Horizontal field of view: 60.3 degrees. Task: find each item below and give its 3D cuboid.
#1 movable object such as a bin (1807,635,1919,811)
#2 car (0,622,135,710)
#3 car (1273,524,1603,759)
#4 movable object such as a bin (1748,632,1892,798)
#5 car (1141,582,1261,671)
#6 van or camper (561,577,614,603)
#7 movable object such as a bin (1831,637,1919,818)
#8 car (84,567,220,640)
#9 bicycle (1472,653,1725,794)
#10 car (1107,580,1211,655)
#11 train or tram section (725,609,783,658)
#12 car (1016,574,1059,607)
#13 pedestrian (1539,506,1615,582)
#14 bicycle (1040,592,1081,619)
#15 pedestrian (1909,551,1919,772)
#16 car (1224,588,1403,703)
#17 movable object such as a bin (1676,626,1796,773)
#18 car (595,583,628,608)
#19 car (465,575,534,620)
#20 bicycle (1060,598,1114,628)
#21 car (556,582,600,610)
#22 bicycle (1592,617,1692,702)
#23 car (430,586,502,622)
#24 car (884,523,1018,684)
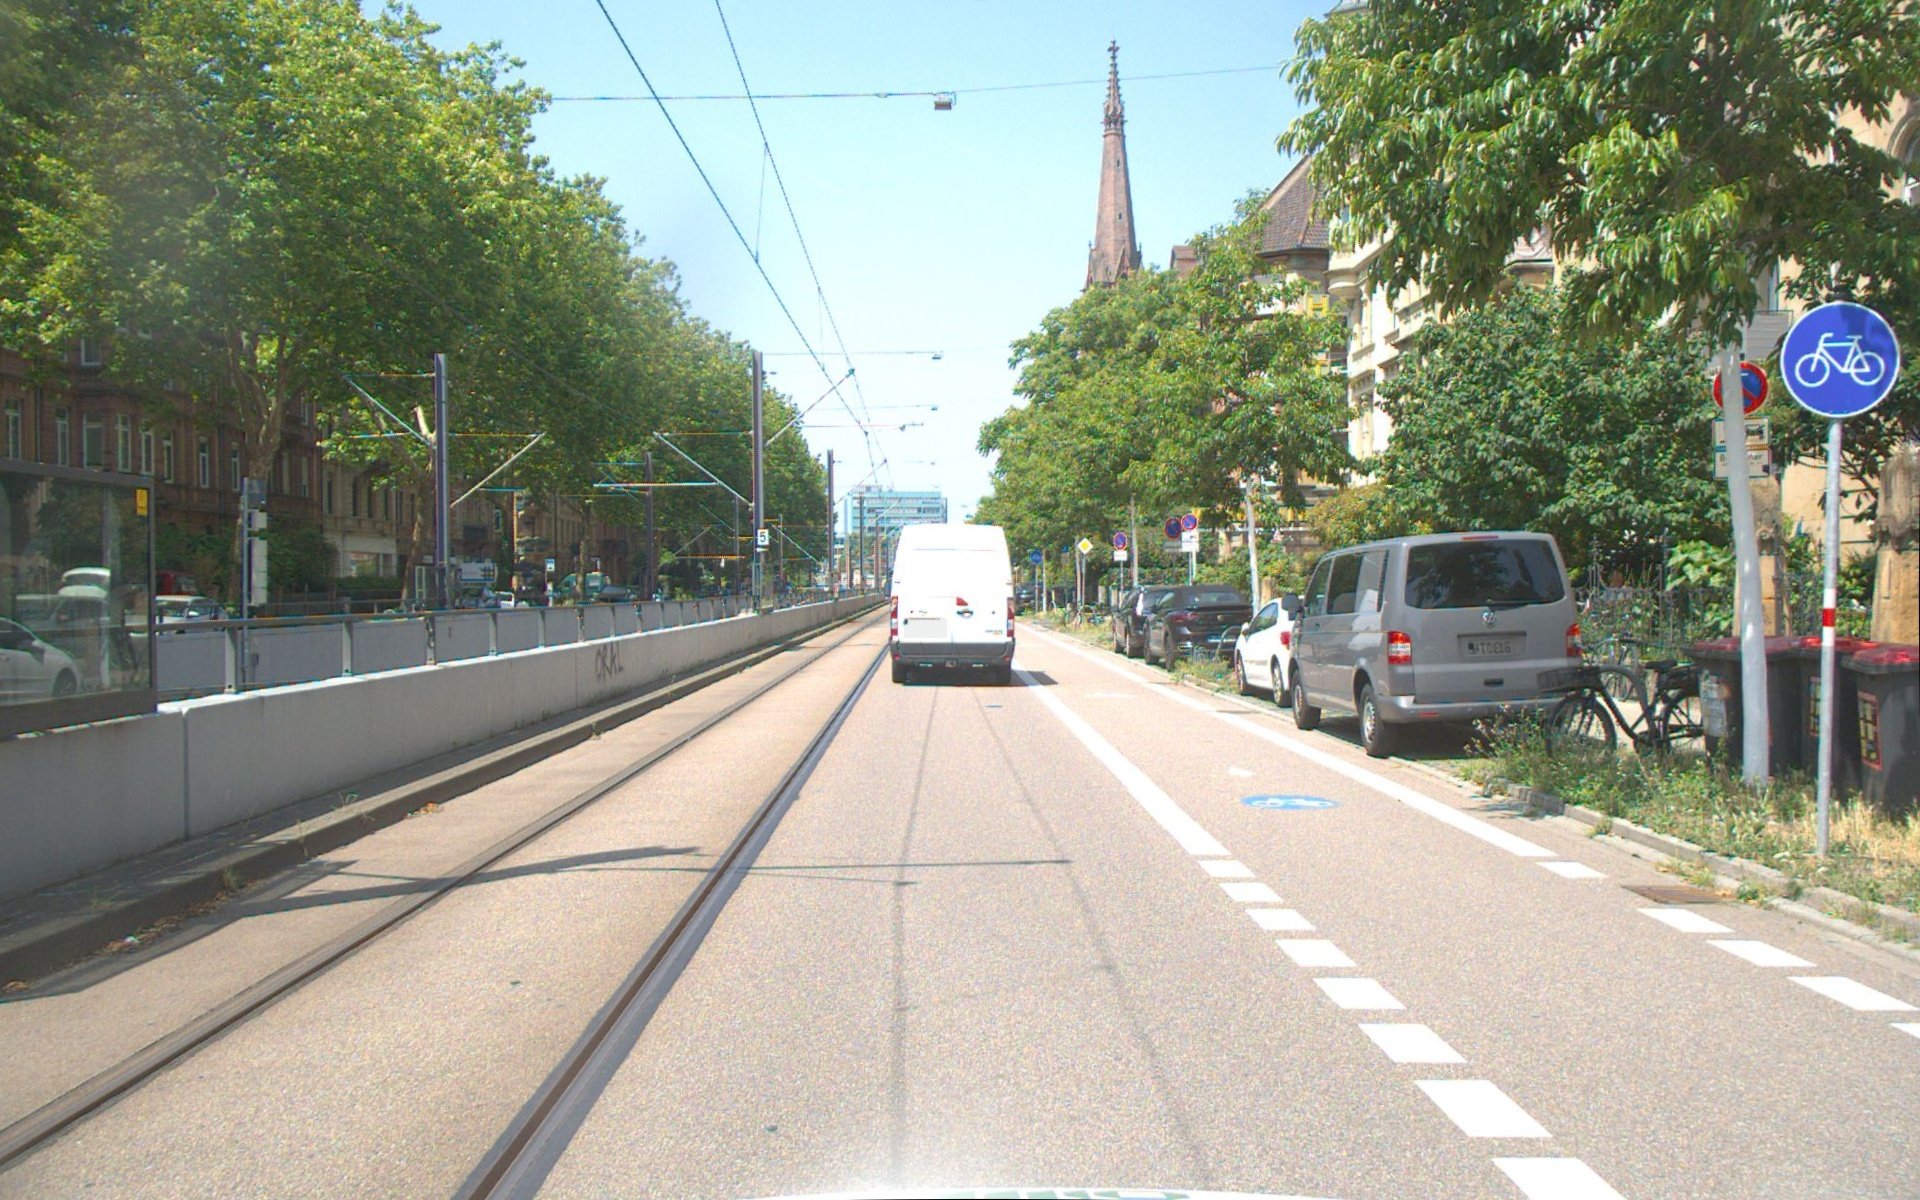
[{"bbox_3d":[5.876,0.777,10.597,0.655,1.080,0.496,-1,0,5],"label":"movable object such as a bin"},{"bbox_3d":[-19.667,1.347,35.232,1.953,1.653,4.716,0,1,-2],"label":"car"},{"bbox_3d":[4.617,0.331,16.811,1.841,1.981,4.835,-2,1,-1],"label":"car"},{"bbox_3d":[5.806,0.762,11.186,0.730,1.080,0.496,0,0,5],"label":"movable object such as a bin"},{"bbox_3d":[4.515,0.455,31.479,1.633,1.557,4.012,-1,1,-1],"label":"car"},{"bbox_3d":[-30.214,-0.830,134.114,3.908,2.049,1.999,-1,0,-4],"label":"van or camper"},{"bbox_3d":[5.765,0.747,9.918,0.771,1.031,0.650,0,0,5],"label":"movable object such as a bin"},{"bbox_3d":[-19.839,0.052,40.780,1.620,1.714,3.706,0,1,-2],"label":"car"},{"bbox_3d":[4.877,0.927,12.645,1.847,1.009,0.469,0,0,-11],"label":"bicycle"},{"bbox_3d":[4.375,0.342,36.956,1.694,1.562,4.403,0,1,-2],"label":"car"},{"bbox_3d":[-11.756,1.862,94.845,2.674,2.552,8.512,0,1,-3],"label":"train or tram section"},{"bbox_3d":[3.991,-0.510,86.082,2.112,1.699,4.001,0,1,1],"label":"car"},{"bbox_3d":[8.990,-0.808,24.128,0.847,1.088,0.762,1,0,3],"label":"pedestrian"},{"bbox_3d":[4.639,0.244,76.479,1.850,1.202,0.640,0,0,-3],"label":"bicycle"},{"bbox_3d":[7.318,0.452,11.931,0.540,1.626,0.728,0,0,1],"label":"pedestrian"},{"bbox_3d":[4.811,0.565,23.021,1.578,1.430,3.999,-1,1,-1],"label":"car"},{"bbox_3d":[5.696,0.718,12.154,0.585,1.028,0.564,0,0,-11],"label":"movable object such as a bin"},{"bbox_3d":[-20.861,-0.254,99.161,1.345,1.448,3.088,-1,0,0],"label":"car"},{"bbox_3d":[-20.175,-0.135,72.617,1.953,1.937,4.147,0,1,-2],"label":"car"},{"bbox_3d":[4.307,0.442,56.289,1.804,0.970,0.503,-1,0,0],"label":"bicycle"},{"bbox_3d":[-21.009,-0.236,91.078,1.560,1.473,4.000,0,1,-1],"label":"car"},{"bbox_3d":[7.780,0.657,18.917,0.431,0.895,1.635,0,0,-1],"label":"bicycle"},{"bbox_3d":[-20.129,0.134,67.567,1.814,1.425,4.196,0,1,-2],"label":"car"},{"bbox_3d":[-0.225,0.019,28.278,2.074,2.502,5.052,0,1,-2],"label":"car"}]
